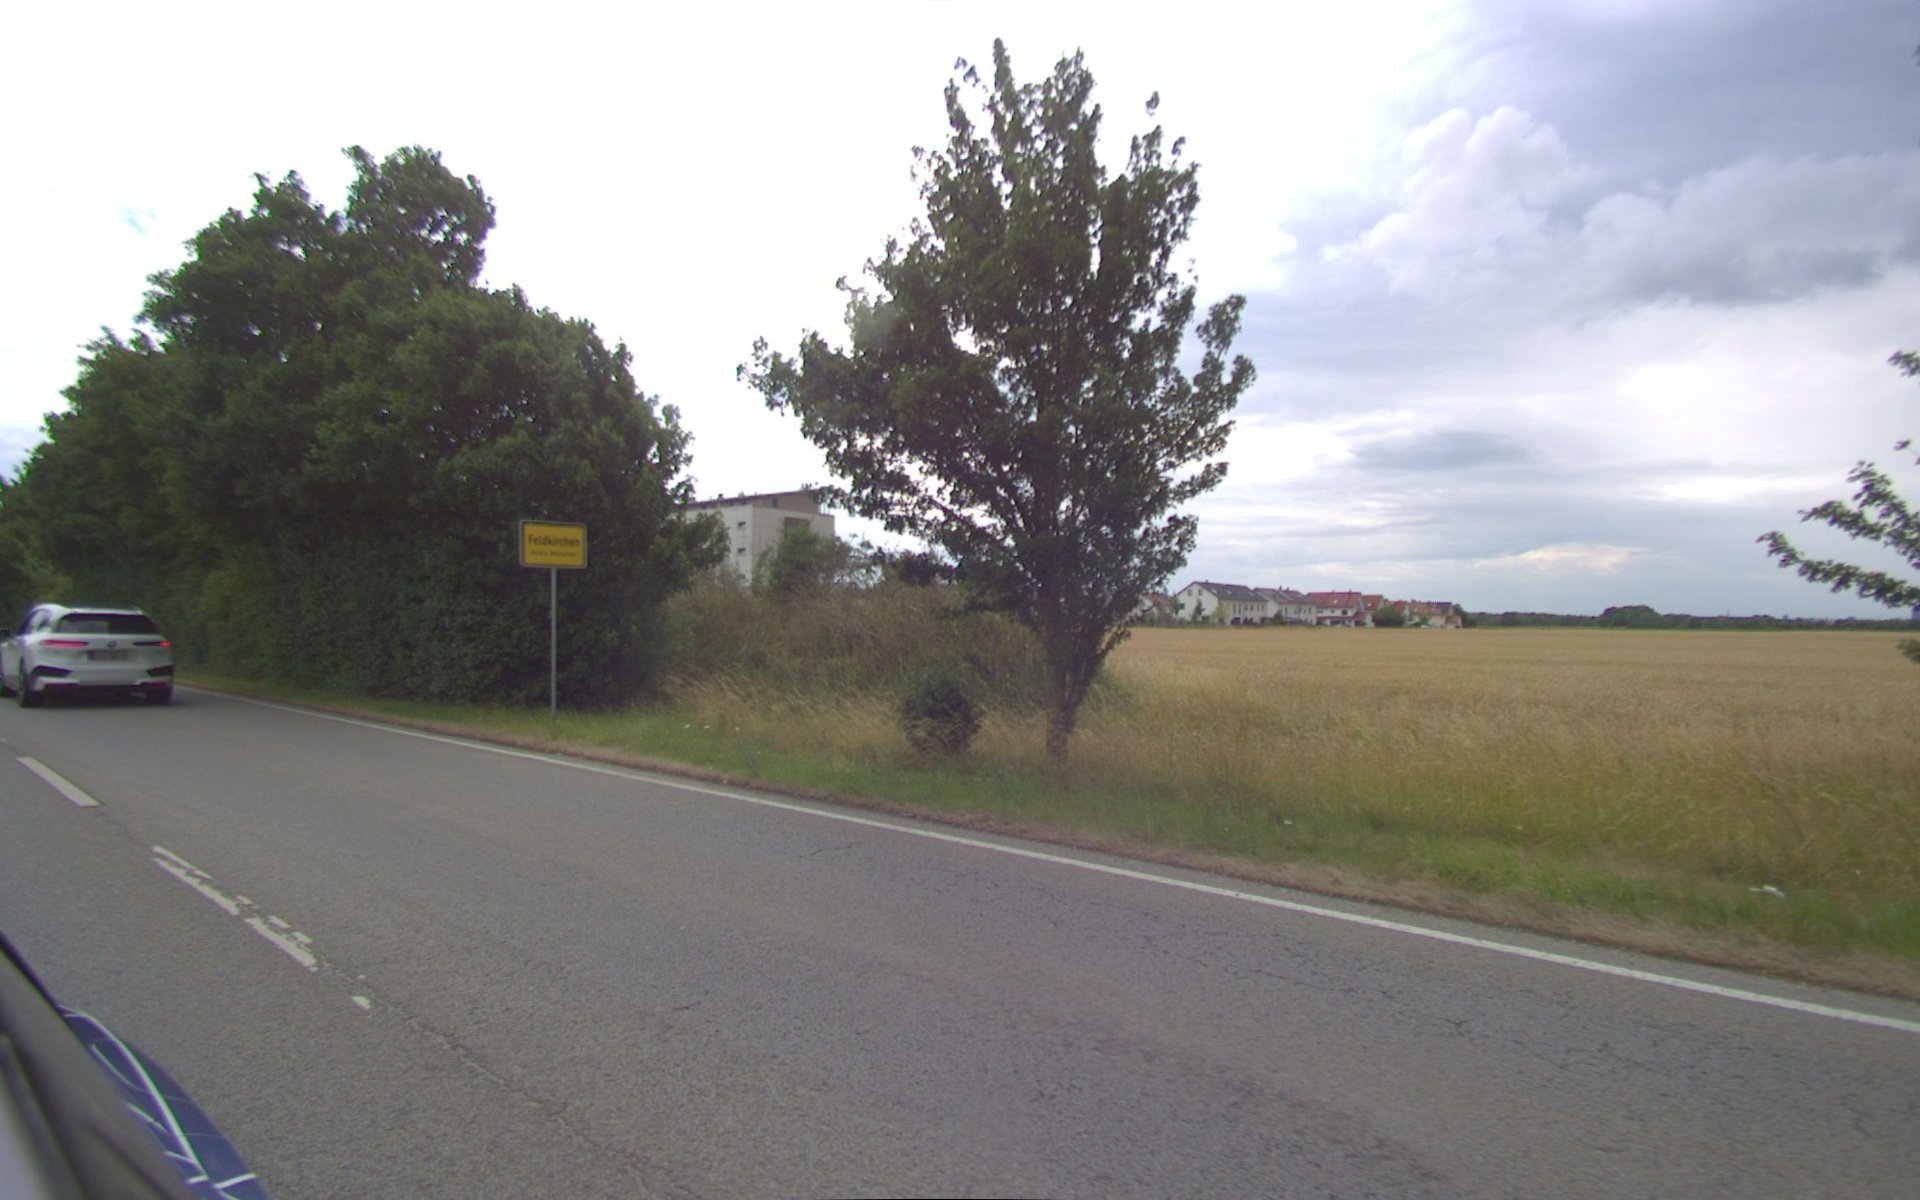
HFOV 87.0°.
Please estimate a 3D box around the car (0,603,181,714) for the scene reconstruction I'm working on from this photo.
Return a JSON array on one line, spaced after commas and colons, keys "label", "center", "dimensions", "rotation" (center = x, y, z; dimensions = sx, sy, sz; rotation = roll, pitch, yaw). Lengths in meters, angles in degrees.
[{"label": "car", "center": [-15.493, 0.970, 17.727], "dimensions": [4.807, 1.697, 1.973], "rotation": [-1, -3, 41]}]
